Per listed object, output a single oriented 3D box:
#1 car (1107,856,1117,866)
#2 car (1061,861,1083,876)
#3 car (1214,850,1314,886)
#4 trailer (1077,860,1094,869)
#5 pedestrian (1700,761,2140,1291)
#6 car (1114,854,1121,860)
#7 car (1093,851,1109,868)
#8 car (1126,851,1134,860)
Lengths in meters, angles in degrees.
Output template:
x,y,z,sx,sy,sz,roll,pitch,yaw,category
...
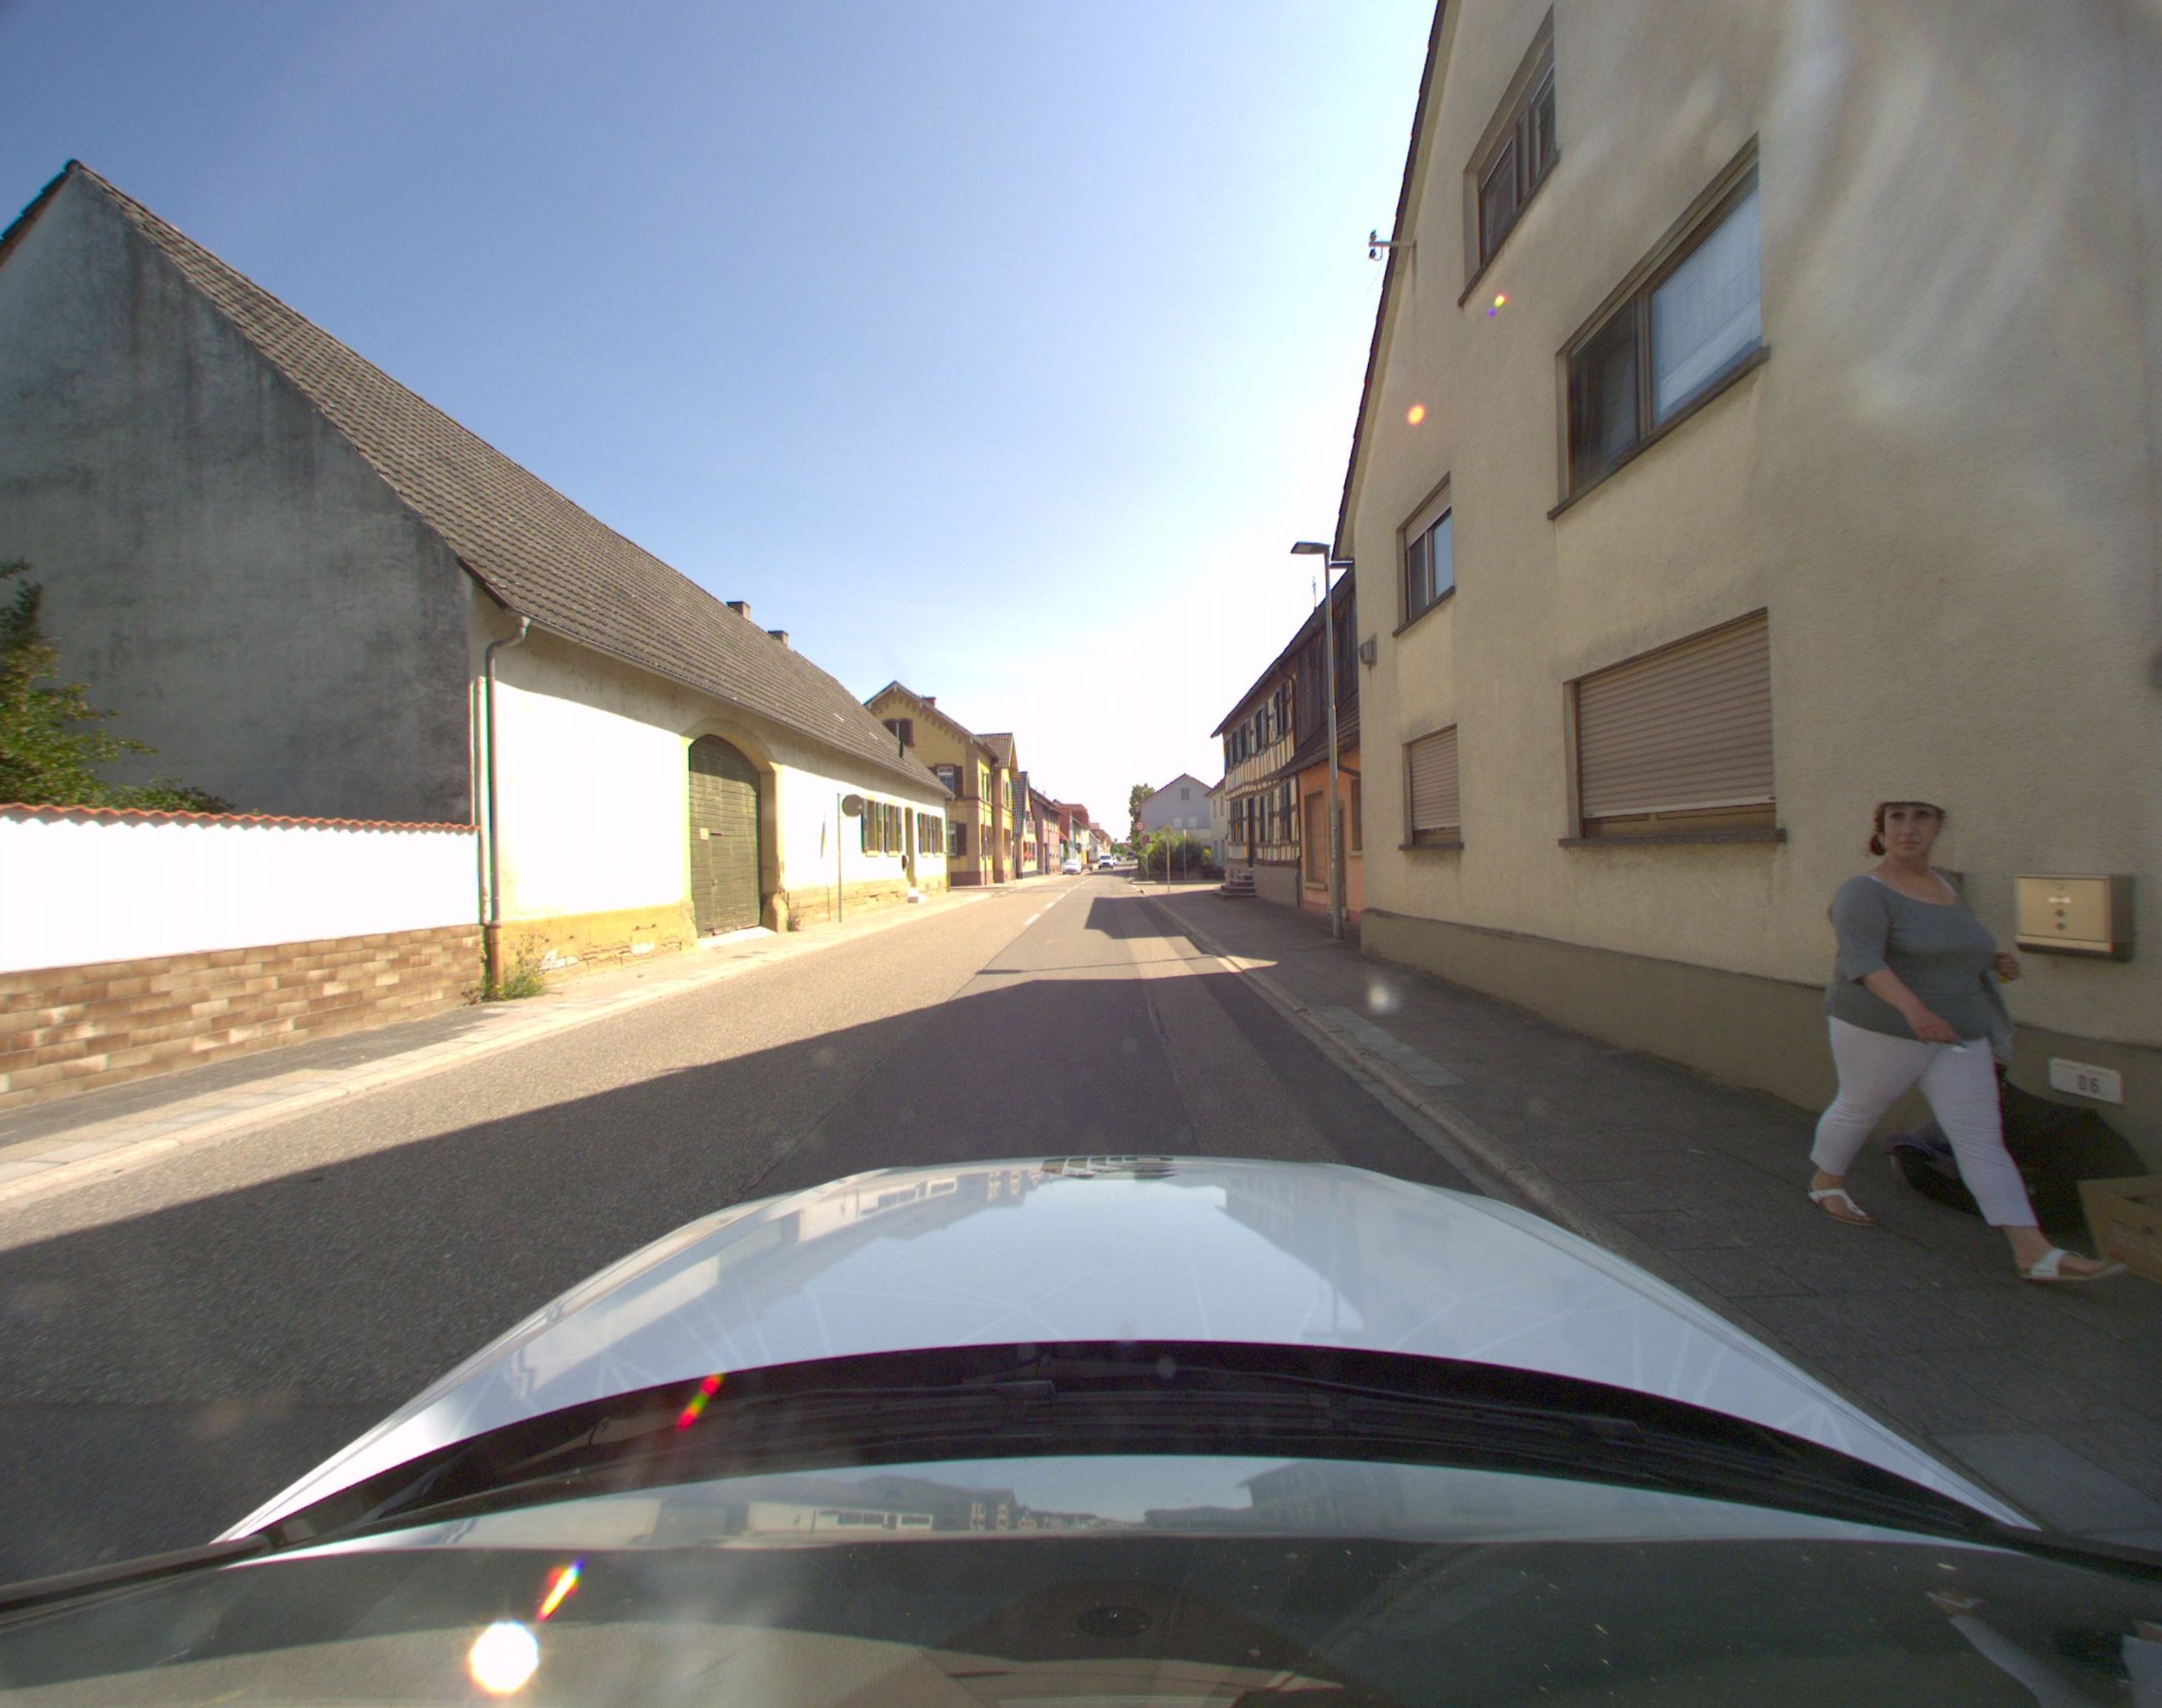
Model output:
x,y,z,sx,sy,sz,roll,pitch,yaw,category
5.889,1.362,155.003,1.985,1.750,4.003,-1,0,3,car
-0.921,1.446,83.529,1.986,1.442,4.002,-2,0,2,car
8.134,0.604,36.431,3.977,1.442,1.998,-2,0,-3,car
0.574,1.288,100.226,1.986,1.090,4.001,-2,0,1,trailer
2.996,0.544,3.034,0.715,1.664,0.894,-1,0,5,pedestrian
10.014,0.935,223.089,1.860,1.544,3.839,-2,0,2,car
2.784,0.776,112.838,2.150,2.080,4.000,-2,-2,1,car
13.230,0.394,220.047,2.010,2.568,4.001,-2,0,1,car
